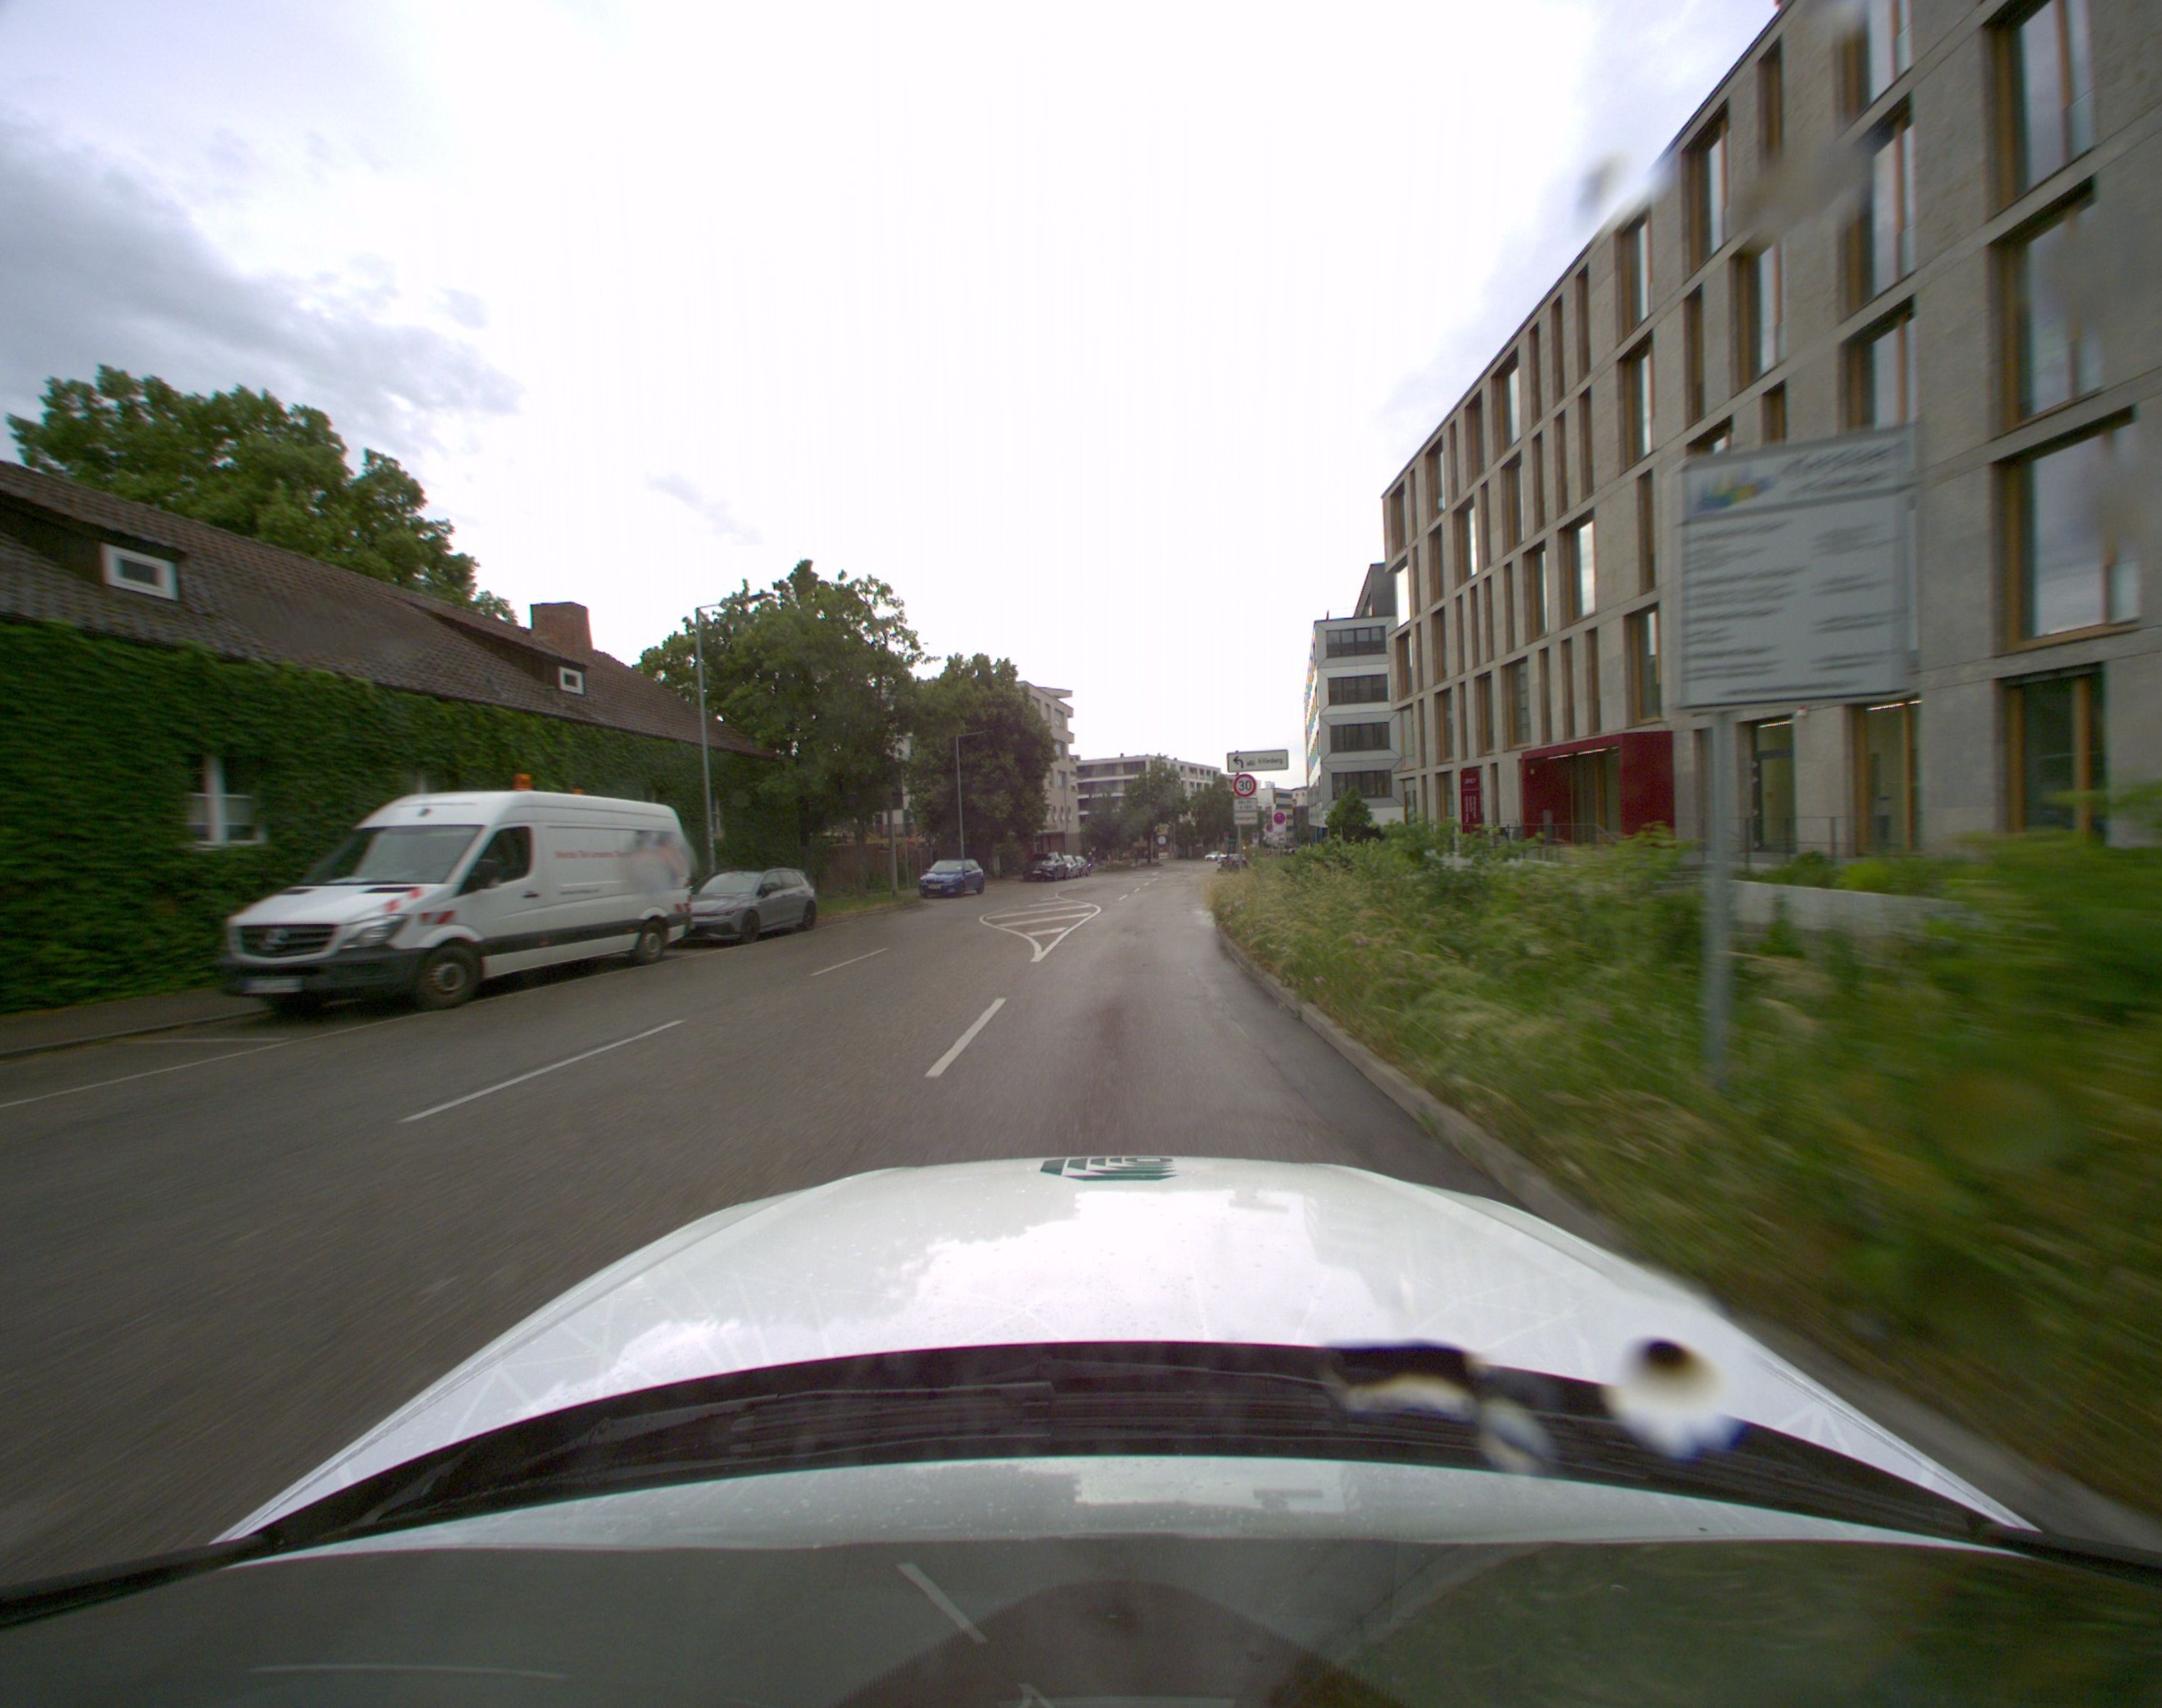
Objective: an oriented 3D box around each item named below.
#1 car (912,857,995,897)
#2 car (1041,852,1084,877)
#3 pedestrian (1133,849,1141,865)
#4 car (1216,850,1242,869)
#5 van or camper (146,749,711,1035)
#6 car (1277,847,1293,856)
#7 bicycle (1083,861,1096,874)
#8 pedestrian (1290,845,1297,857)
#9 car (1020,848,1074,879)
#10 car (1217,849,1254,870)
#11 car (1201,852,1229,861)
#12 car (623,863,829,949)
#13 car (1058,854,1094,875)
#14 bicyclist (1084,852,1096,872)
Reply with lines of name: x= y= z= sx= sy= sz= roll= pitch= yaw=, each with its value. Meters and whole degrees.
car: x=-5.059 y=0.890 z=32.821 sx=1.981 sy=1.470 sz=4.198 roll=-1 pitch=0 yaw=10
car: x=-1.197 y=0.662 z=55.573 sx=1.977 sy=1.593 sz=4.503 roll=-1 pitch=0 yaw=11
pedestrian: x=7.275 y=0.384 z=105.703 sx=1.050 sy=2.014 sz=1.100 roll=-1 pitch=-1 yaw=3
car: x=12.154 y=0.415 z=66.781 sx=2.026 sy=1.464 sz=4.517 roll=-1 pitch=0 yaw=11
van or camper: x=-7.835 y=0.362 z=11.073 sx=2.329 sy=2.765 sz=6.150 roll=-1 pitch=0 yaw=5
car: x=34.881 y=-0.398 z=139.100 sx=1.791 sy=1.484 sz=4.521 roll=-1 pitch=0 yaw=24
bicycle: x=0.680 y=1.035 z=63.370 sx=0.797 sy=0.979 sz=2.258 roll=-1 pitch=0 yaw=6
pedestrian: x=32.499 y=-0.462 z=124.552 sx=0.816 sy=1.796 sz=1.214 roll=-3 pitch=-1 yaw=18
car: x=-1.997 y=0.549 z=49.739 sx=1.980 sy=1.786 sz=5.428 roll=-1 pitch=0 yaw=12
car: x=11.674 y=0.401 z=61.709 sx=2.038 sy=1.458 sz=4.054 roll=-1 pitch=0 yaw=0
car: x=21.639 y=0.362 z=131.323 sx=4.729 sy=1.292 sz=1.976 roll=-1 pitch=0 yaw=-43
car: x=-7.197 y=0.979 z=17.120 sx=1.983 sy=1.512 sz=4.431 roll=-1 pitch=0 yaw=6
car: x=-0.310 y=0.746 z=59.969 sx=1.867 sy=1.463 sz=3.859 roll=-1 pitch=0 yaw=11
bicyclist: x=0.671 y=0.595 z=63.321 sx=0.797 sy=1.523 sz=1.203 roll=-1 pitch=-1 yaw=5
